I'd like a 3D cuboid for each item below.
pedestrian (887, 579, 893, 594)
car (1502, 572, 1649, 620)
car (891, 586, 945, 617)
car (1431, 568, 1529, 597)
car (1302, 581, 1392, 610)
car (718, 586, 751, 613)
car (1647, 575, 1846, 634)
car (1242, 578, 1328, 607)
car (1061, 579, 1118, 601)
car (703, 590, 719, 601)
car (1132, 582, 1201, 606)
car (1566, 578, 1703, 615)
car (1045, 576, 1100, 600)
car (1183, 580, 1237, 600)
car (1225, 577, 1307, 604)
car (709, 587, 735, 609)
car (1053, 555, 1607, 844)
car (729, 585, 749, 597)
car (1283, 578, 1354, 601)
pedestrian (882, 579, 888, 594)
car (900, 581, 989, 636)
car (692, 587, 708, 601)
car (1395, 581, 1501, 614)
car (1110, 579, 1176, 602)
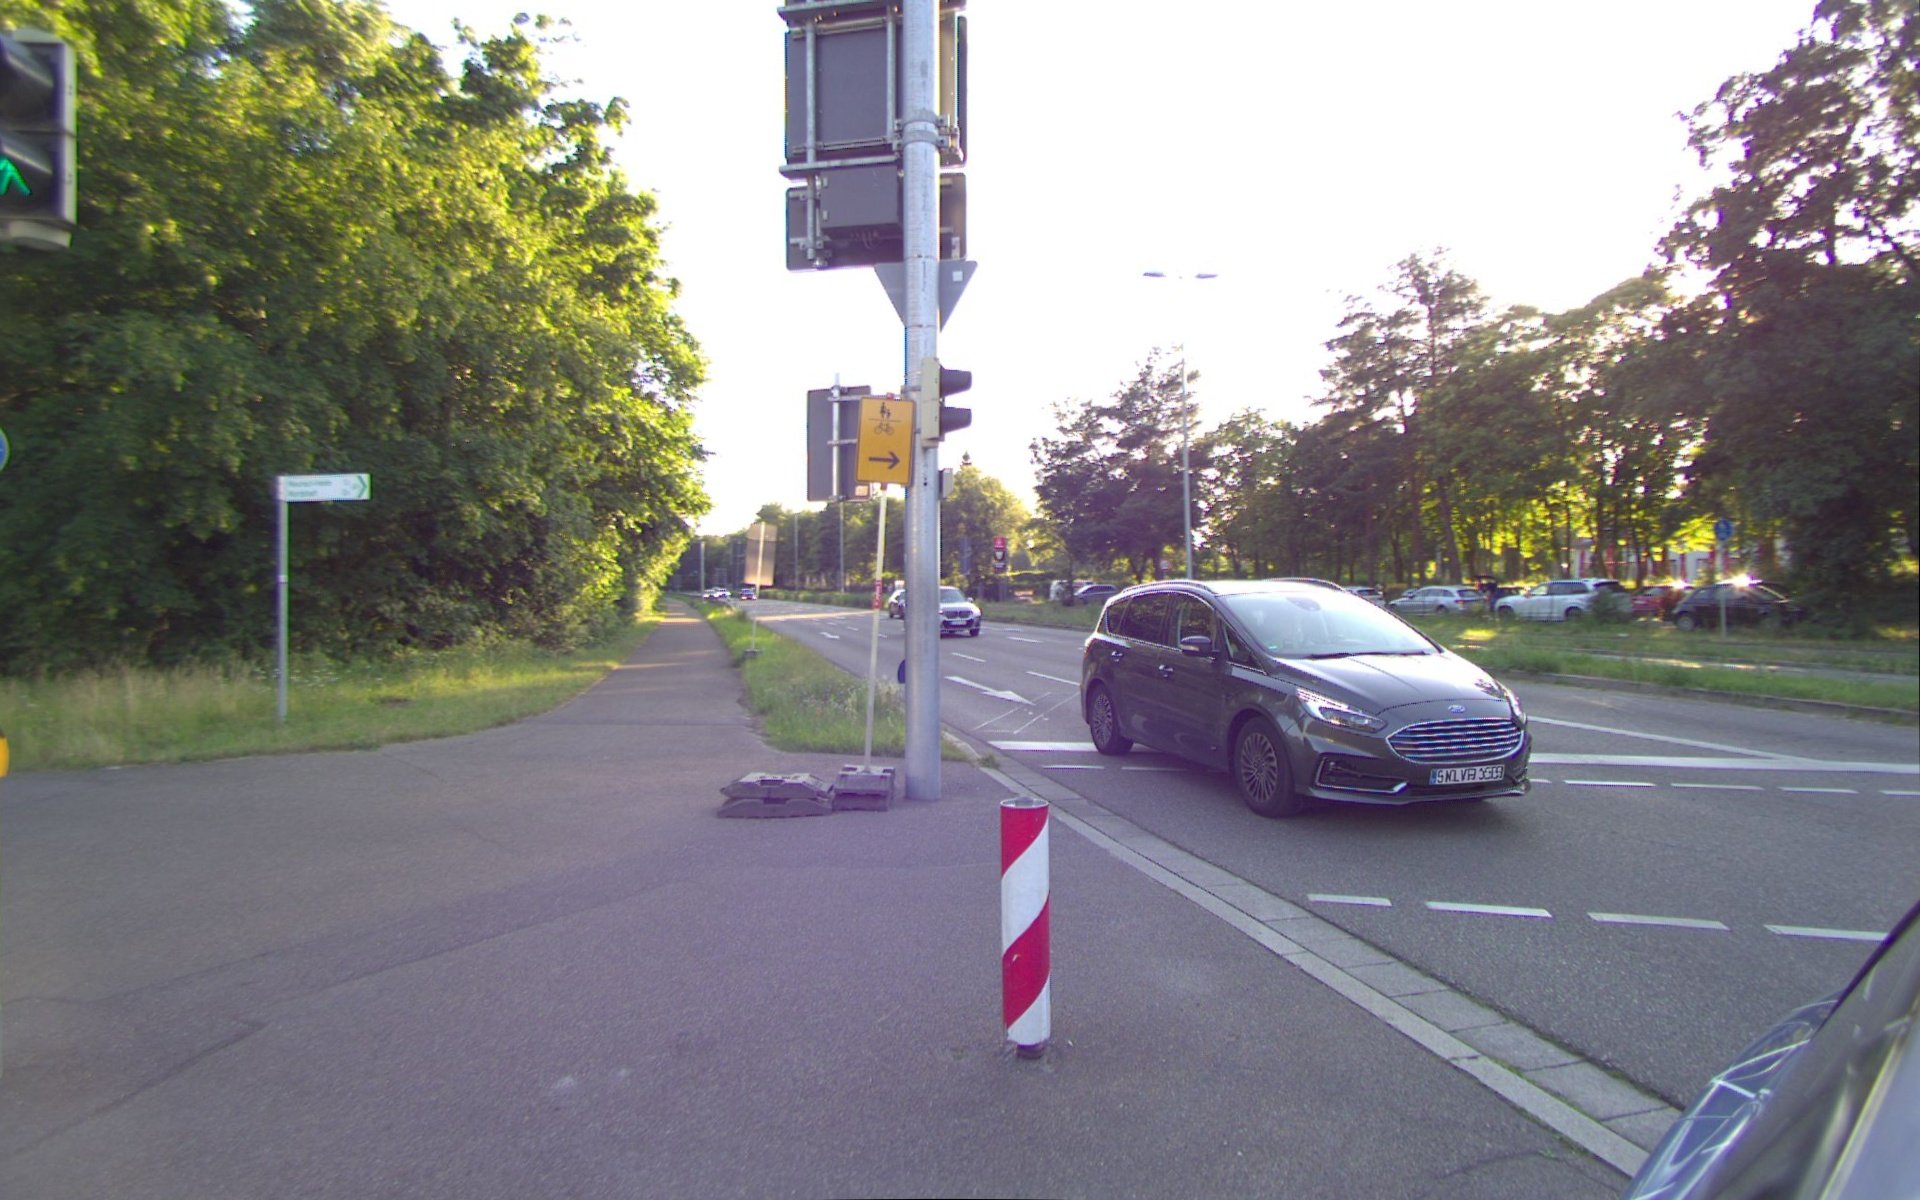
[{"bbox_3d":[-8.302,-1.642,120.463,0.556,1.797,0.678,-2,0,-13],"label":"pedestrian"},{"bbox_3d":[22.708,-0.181,37.544,1.826,1.679,4.557,0,1,-18],"label":"car"},{"bbox_3d":[-2.127,0.039,50.217,1.833,1.423,4.084,-2,1,-14],"label":"car"},{"bbox_3d":[26.669,-0.881,52.075,1.826,1.424,4.557,0,1,-18],"label":"car"},{"bbox_3d":[18.953,-0.257,49.789,1.644,1.341,4.509,0,1,-18],"label":"car"},{"bbox_3d":[-14.856,-0.050,66.438,1.958,1.644,4.406,-2,1,-14],"label":"car"},{"bbox_3d":[24.343,0.067,31.524,1.827,1.679,4.555,-1,2,-27],"label":"car"},{"bbox_3d":[17.064,-0.413,53.185,3.965,1.497,1.765,0,1,-12],"label":"car"},{"bbox_3d":[9.975,-0.757,77.951,3.916,1.658,1.829,0,1,-13],"label":"car"},{"bbox_3d":[-33.721,-0.573,136.973,1.833,1.423,4.084,-2,1,-18],"label":"car"},{"bbox_3d":[13.594,-0.397,66.768,4.083,1.497,1.787,-1,1,-16],"label":"car"},{"bbox_3d":[27.662,-0.163,41.704,1.826,1.424,4.557,0,1,-18],"label":"car"},{"bbox_3d":[8.980,-0.995,80.899,3.916,1.888,1.829,0,1,-13],"label":"car"},{"bbox_3d":[18.911,-0.770,76.744,1.826,1.424,4.557,0,1,-18],"label":"car"},{"bbox_3d":[17.160,-0.564,56.819,3.916,1.471,2.004,-1,1,-16],"label":"car"},{"bbox_3d":[-19.663,-0.193,83.470,1.958,1.644,4.406,-2,1,-14],"label":"car"},{"bbox_3d":[2.550,0.575,8.547,1.970,1.682,4.831,-1,0,-14],"label":"car"},{"bbox_3d":[-28.745,-1.183,131.508,1.833,1.423,4.084,-2,1,-22],"label":"car"},{"bbox_3d":[22.701,-0.671,64.292,1.826,1.424,4.557,0,1,-18],"label":"car"},{"bbox_3d":[-8.929,-1.604,120.319,0.556,1.767,0.678,-2,0,-13],"label":"pedestrian"},{"bbox_3d":[-0.598,0.220,33.685,1.958,1.644,4.406,-2,1,-14],"label":"car"},{"bbox_3d":[-33.655,-0.799,131.209,1.958,1.644,4.406,-2,1,-14],"label":"car"},{"bbox_3d":[20.893,-0.126,43.503,1.826,1.349,4.009,0,1,-18],"label":"car"},{"bbox_3d":[12.585,-0.653,69.519,4.083,1.497,1.787,-1,1,-16],"label":"car"}]
